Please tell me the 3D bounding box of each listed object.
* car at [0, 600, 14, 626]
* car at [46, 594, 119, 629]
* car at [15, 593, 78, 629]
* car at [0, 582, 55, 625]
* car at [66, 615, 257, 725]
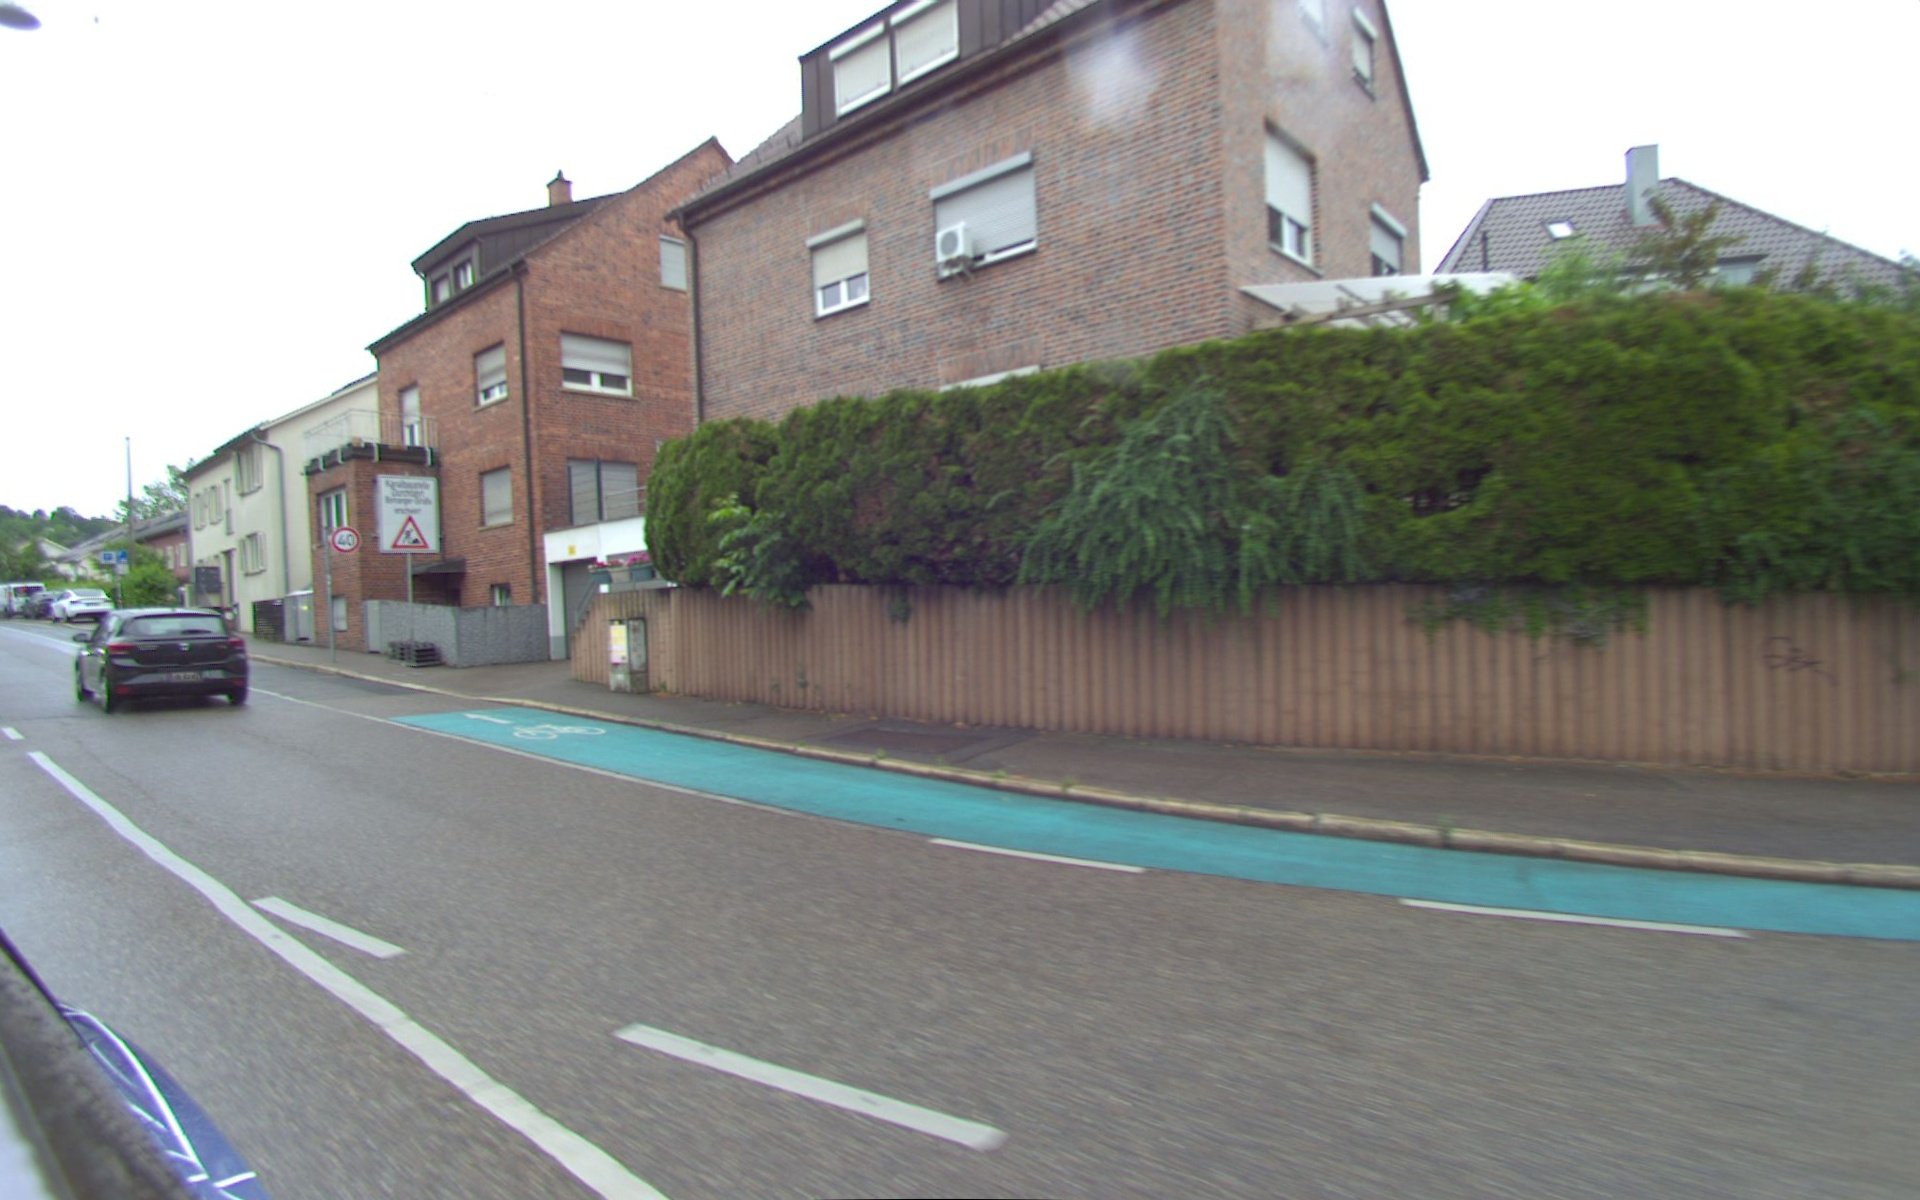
[{"bbox_3d":[-59.157,0.851,61.247,3.996,1.501,1.638,-1,2,30],"label":"car"},{"bbox_3d":[-43.286,0.563,49.894,4.257,1.577,1.923,-1,2,38],"label":"car"},{"bbox_3d":[-49.645,0.585,54.997,4.257,1.817,1.793,-1,2,38],"label":"car"},{"bbox_3d":[-54.504,0.222,58.575,4.539,2.303,2.231,-1,2,37],"label":"car"},{"bbox_3d":[-12.549,0.984,15.833,3.719,1.457,1.894,-1,0,44],"label":"car"}]
